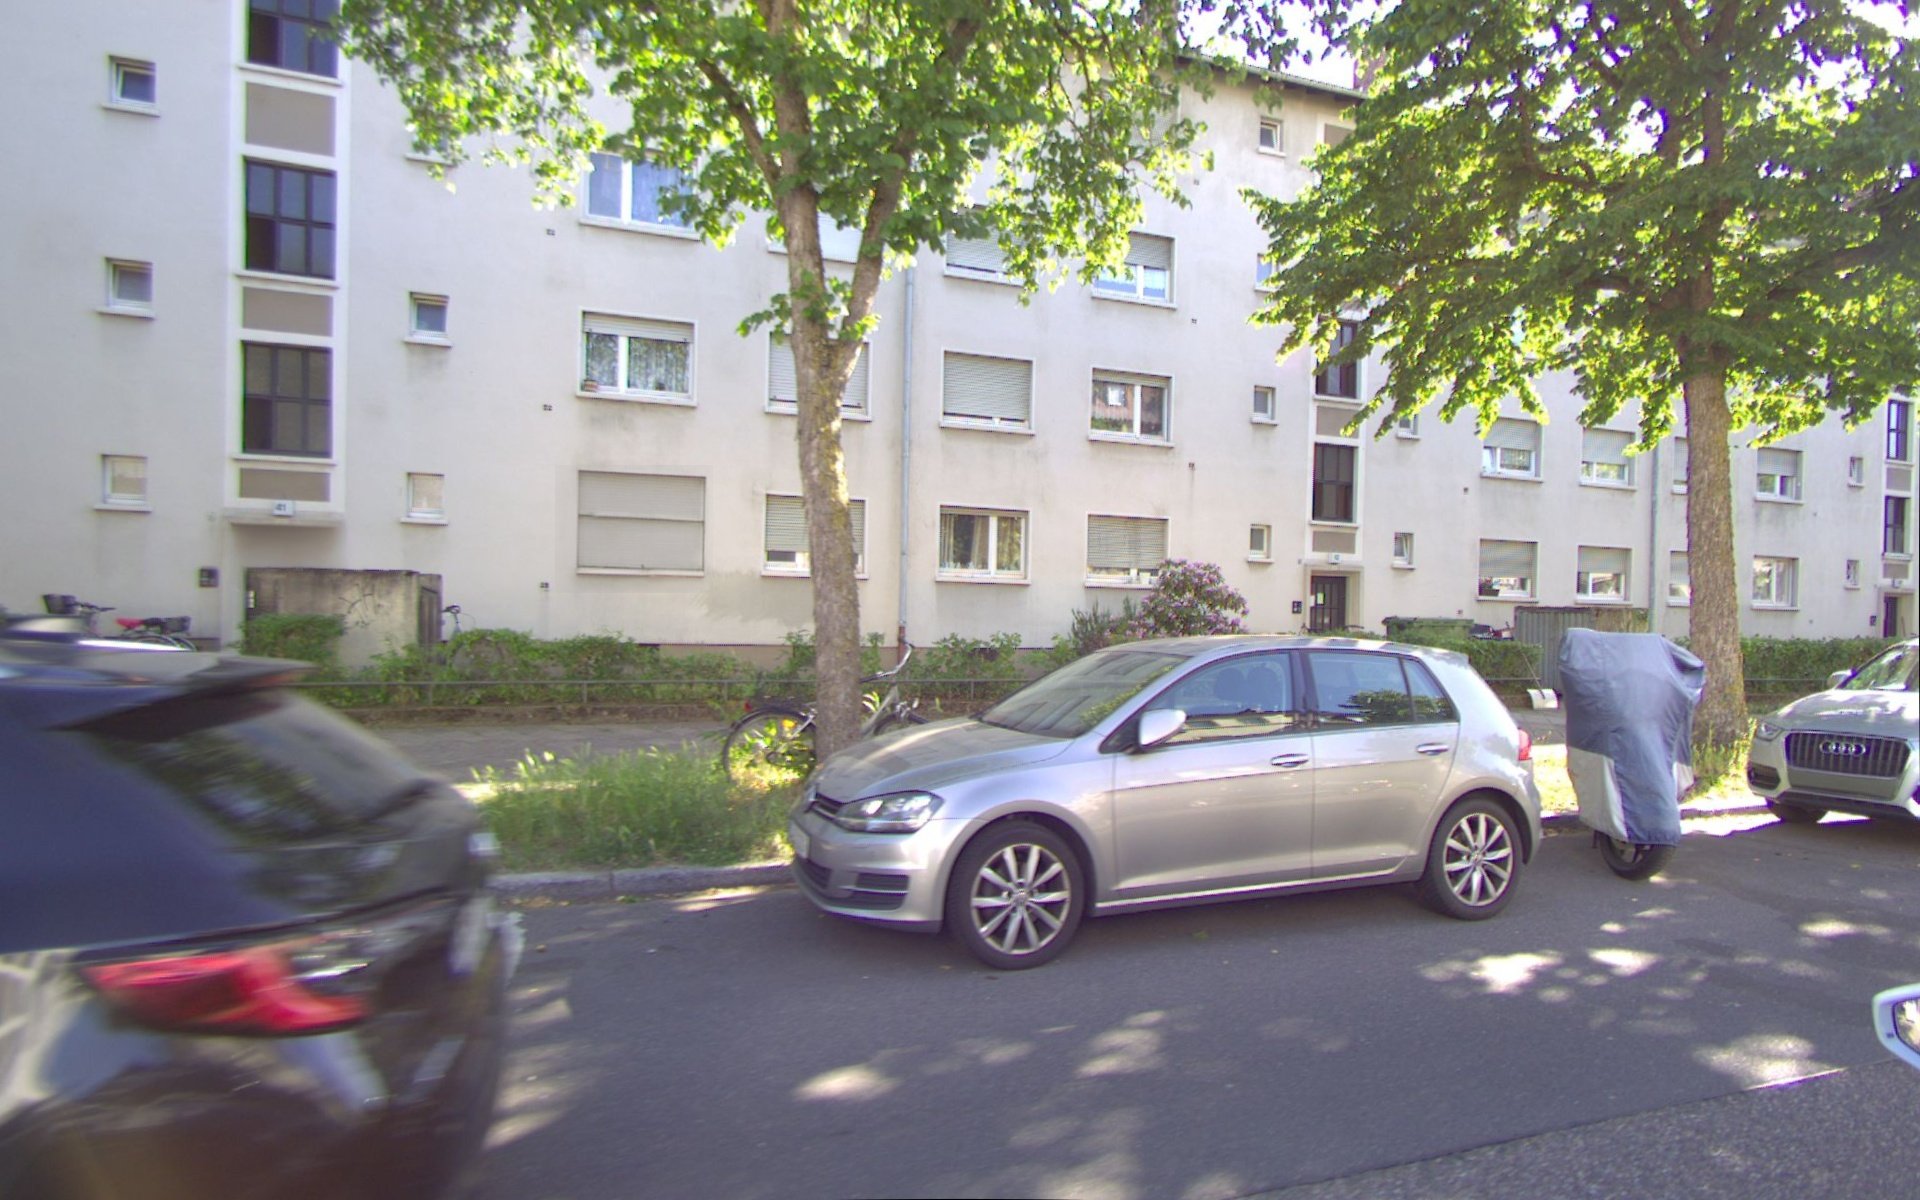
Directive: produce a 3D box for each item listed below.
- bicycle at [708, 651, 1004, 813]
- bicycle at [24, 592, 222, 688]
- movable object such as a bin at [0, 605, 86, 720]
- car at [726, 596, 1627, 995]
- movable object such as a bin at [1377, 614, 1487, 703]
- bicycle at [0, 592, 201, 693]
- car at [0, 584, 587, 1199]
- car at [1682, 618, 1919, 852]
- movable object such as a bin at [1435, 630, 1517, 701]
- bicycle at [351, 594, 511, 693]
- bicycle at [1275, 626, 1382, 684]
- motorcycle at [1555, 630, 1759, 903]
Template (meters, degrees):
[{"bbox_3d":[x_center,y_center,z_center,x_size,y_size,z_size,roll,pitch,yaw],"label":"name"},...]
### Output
[{"bbox_3d":[-0.761,0.935,7.300,2.055,1.029,0.530,1,7,-14],"label":"bicycle"},{"bbox_3d":[-11.082,0.526,13.373,1.881,1.217,0.685,1,0,-18],"label":"bicycle"},{"bbox_3d":[-9.279,0.602,9.913,0.748,1.082,0.693,1,0,-18],"label":"movable object such as a bin"},{"bbox_3d":[1.099,0.798,5.604,4.534,1.544,2.041,0,-1,-19],"label":"car"},{"bbox_3d":[7.505,0.910,15.993,1.360,1.341,0.927,1,-1,-25],"label":"movable object such as a bin"},{"bbox_3d":[-10.873,0.537,12.697,1.881,1.217,0.685,1,0,-18],"label":"bicycle"},{"bbox_3d":[-2.924,0.697,1.646,4.301,1.464,1.806,2,-2,-21],"label":"car"},{"bbox_3d":[8.405,0.965,8.117,4.654,1.544,2.059,1,0,-23],"label":"car"},{"bbox_3d":[8.438,1.052,16.453,0.744,1.106,0.927,1,-1,-25],"label":"movable object such as a bin"},{"bbox_3d":[-7.239,0.602,13.827,1.885,1.306,0.398,1,0,-21],"label":"bicycle"},{"bbox_3d":[7.027,1.041,19.156,1.909,1.055,0.784,2,0,-24],"label":"bicycle"},{"bbox_3d":[4.677,0.980,6.915,0.972,1.523,2.229,1,-1,30],"label":"motorcycle"}]
